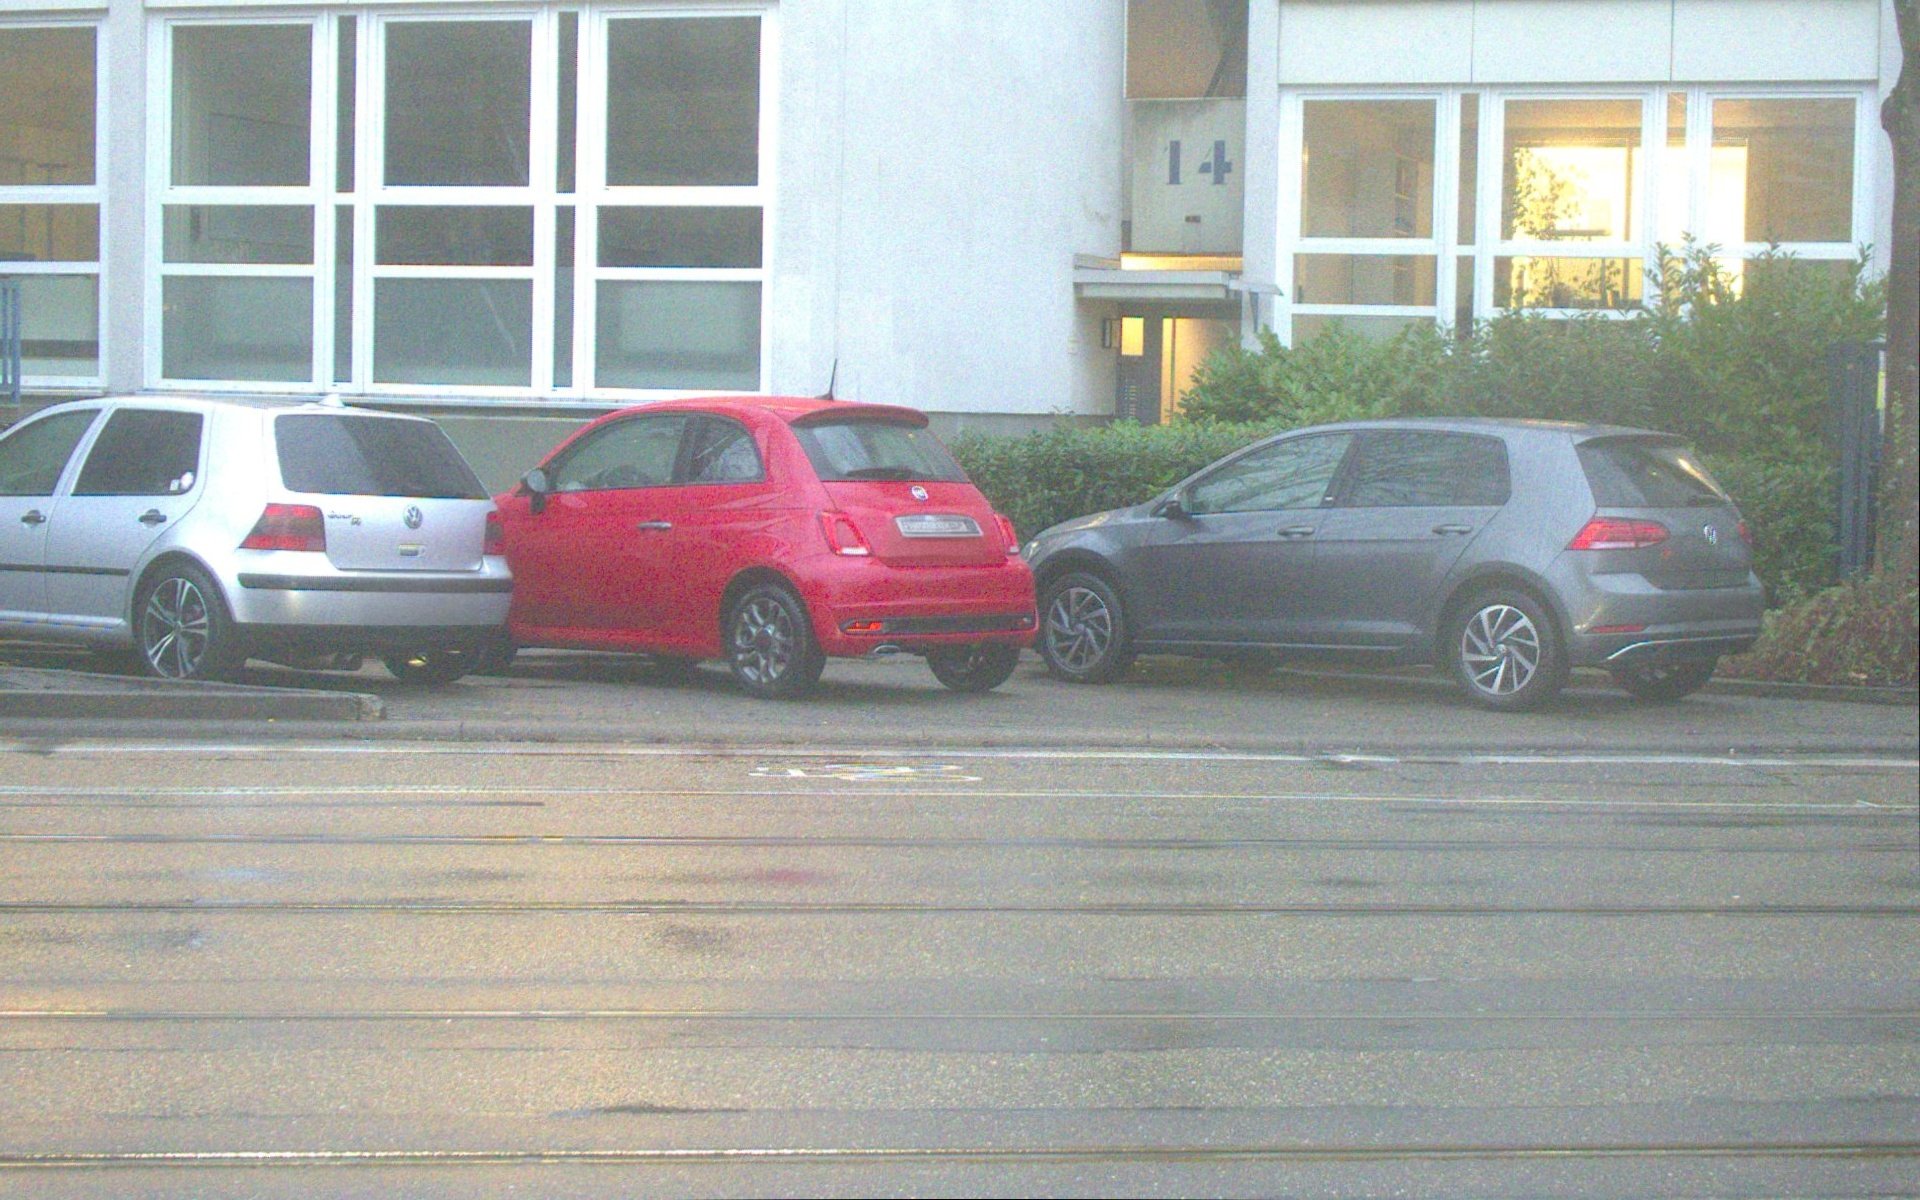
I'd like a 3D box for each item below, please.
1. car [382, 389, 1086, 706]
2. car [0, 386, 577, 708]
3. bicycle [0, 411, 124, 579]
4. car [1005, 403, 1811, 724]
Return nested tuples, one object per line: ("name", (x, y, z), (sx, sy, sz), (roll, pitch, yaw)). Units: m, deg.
("car", (-1.235, -0.345, 17.975), (3.448, 1.487, 1.725), (3, 4, 41))
("car", (-4.017, -0.347, 17.367), (3.996, 1.441, 1.789), (3, 4, 37))
("bicycle", (-6.551, -0.734, 23.520), (0.640, 1.116, 2.204), (1, 3, 15))
("car", (2.276, -0.268, 18.001), (3.850, 1.487, 1.692), (3, 4, 39))
